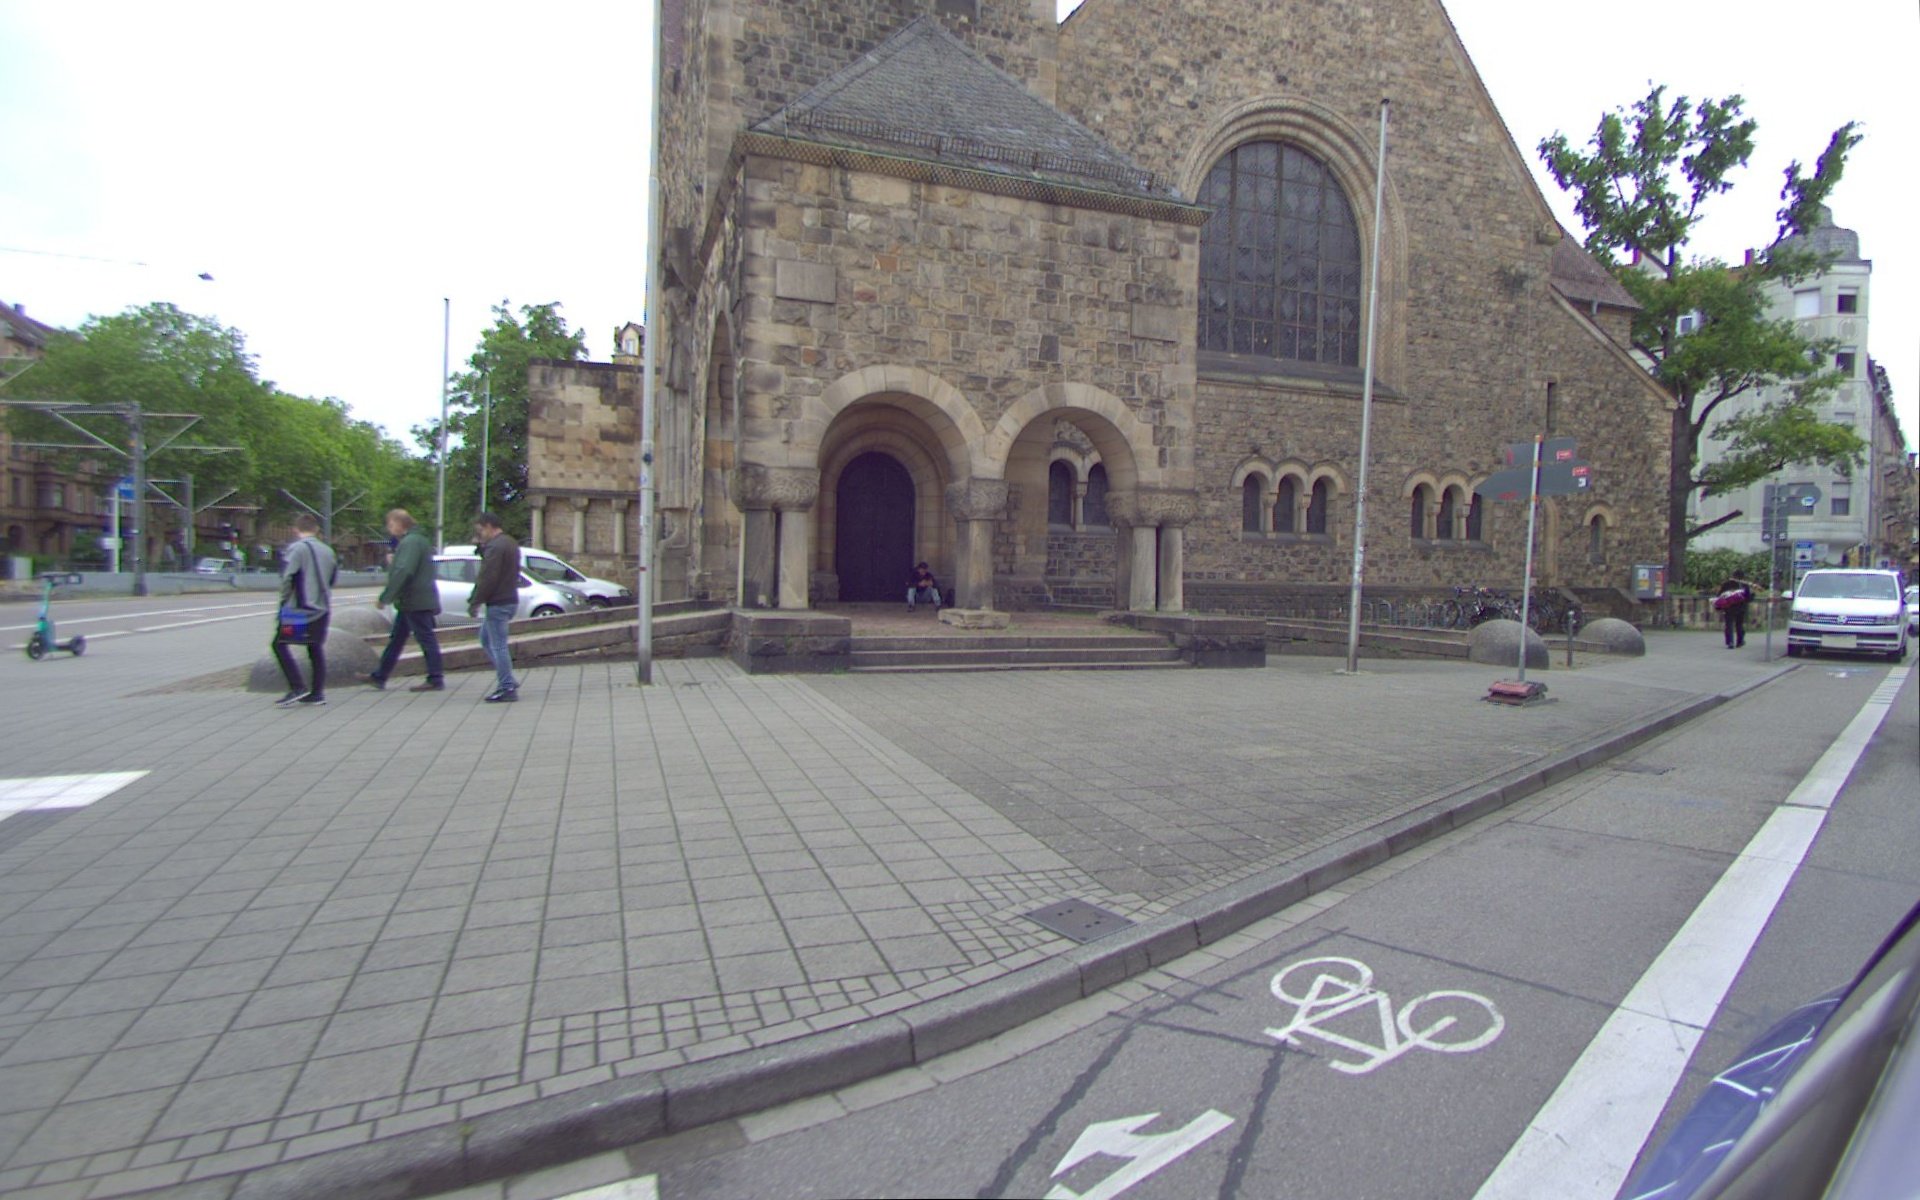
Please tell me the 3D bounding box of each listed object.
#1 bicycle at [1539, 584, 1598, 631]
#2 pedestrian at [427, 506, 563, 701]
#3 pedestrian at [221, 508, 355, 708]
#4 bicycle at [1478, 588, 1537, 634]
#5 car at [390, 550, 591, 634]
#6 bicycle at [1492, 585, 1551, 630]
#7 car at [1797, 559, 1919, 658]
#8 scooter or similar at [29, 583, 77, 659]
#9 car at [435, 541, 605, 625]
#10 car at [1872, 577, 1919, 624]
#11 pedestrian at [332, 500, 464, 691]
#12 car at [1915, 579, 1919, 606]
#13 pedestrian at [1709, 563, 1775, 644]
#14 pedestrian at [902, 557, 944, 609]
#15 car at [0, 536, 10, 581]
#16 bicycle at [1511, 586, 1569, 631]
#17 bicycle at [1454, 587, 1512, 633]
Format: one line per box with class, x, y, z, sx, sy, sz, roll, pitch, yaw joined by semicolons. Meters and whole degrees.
bicycle;15.533;0.180;25.866;0.304;1.161;1.346;1;1;-22
pedestrian;-4.328;0.005;9.424;0.953;1.706;0.675;0;3;-44
pedestrian;-6.034;0.050;9.088;0.951;1.693;0.635;1;3;-37
bicycle;13.459;0.252;24.892;0.304;1.073;1.387;1;1;-22
car;-9.109;-0.163;19.900;3.394;1.549;1.622;0;2;-18
bicycle;14.064;0.170;25.369;0.304;1.073;1.387;1;1;-22
car;20.158;0.129;22.587;1.806;1.943;5.081;2;2;44
scooter or similar;-13.313;0.293;14.864;0.235;1.066;0.775;1;1;-18
car;-9.966;-0.386;23.175;3.394;1.815;1.691;0;2;-18
car;33.945;0.003;36.113;3.934;1.585;1.817;0;2;-44
pedestrian;-5.586;-0.070;10.056;0.953;1.780;0.805;0;3;-44
car;56.779;-0.418;58.728;3.934;1.585;1.817;0;2;-44
pedestrian;18.226;0.056;23.589;0.999;1.831;0.818;-2;2;-23
pedestrian;-0.710;-0.322;19.279;0.602;0.963;0.675;1;1;-22
car;-60.767;-2.478;59.718;2.209;2.762;7.092;0;1;8
bicycle;14.655;0.197;25.589;0.304;1.073;1.346;1;1;-22
bicycle;12.848;0.227;24.876;0.304;1.073;1.387;1;1;-22
